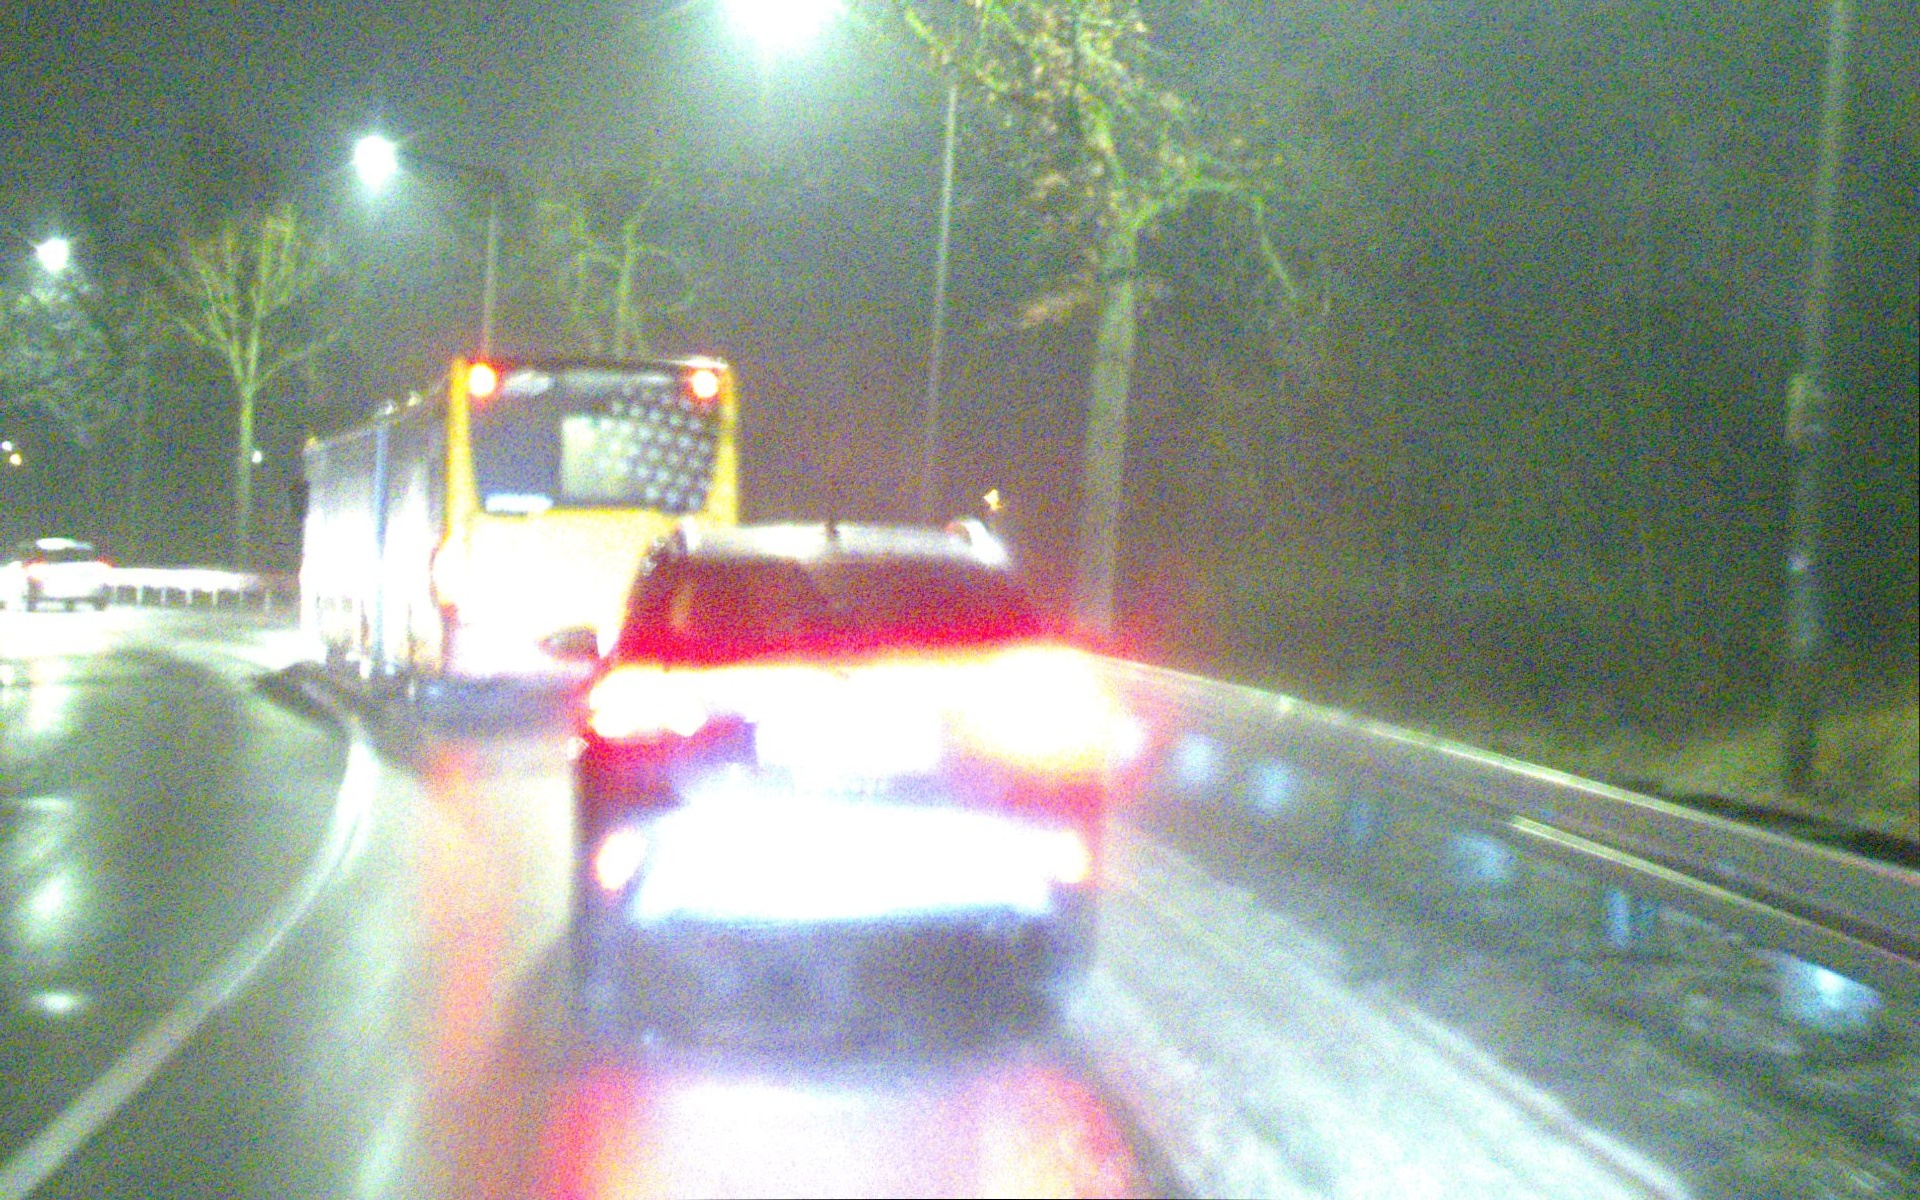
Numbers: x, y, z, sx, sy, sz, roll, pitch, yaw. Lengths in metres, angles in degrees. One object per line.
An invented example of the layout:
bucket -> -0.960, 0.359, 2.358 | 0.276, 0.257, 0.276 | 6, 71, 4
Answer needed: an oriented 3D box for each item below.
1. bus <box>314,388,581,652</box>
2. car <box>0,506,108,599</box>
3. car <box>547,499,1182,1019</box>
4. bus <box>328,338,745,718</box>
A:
bus -> -6.835, -1.138, 44.907 | 3.048, 3.121, 8.082 | 0, 3, -11
car -> -18.868, -1.011, 71.187 | 1.636, 1.649, 3.711 | -2, 5, -25
car -> -0.522, 0.458, 12.559 | 1.855, 1.581, 4.001 | 1, 1, -8
bus -> -4.642, -0.743, 34.793 | 3.082, 3.122, 12.701 | 0, 1, -12
